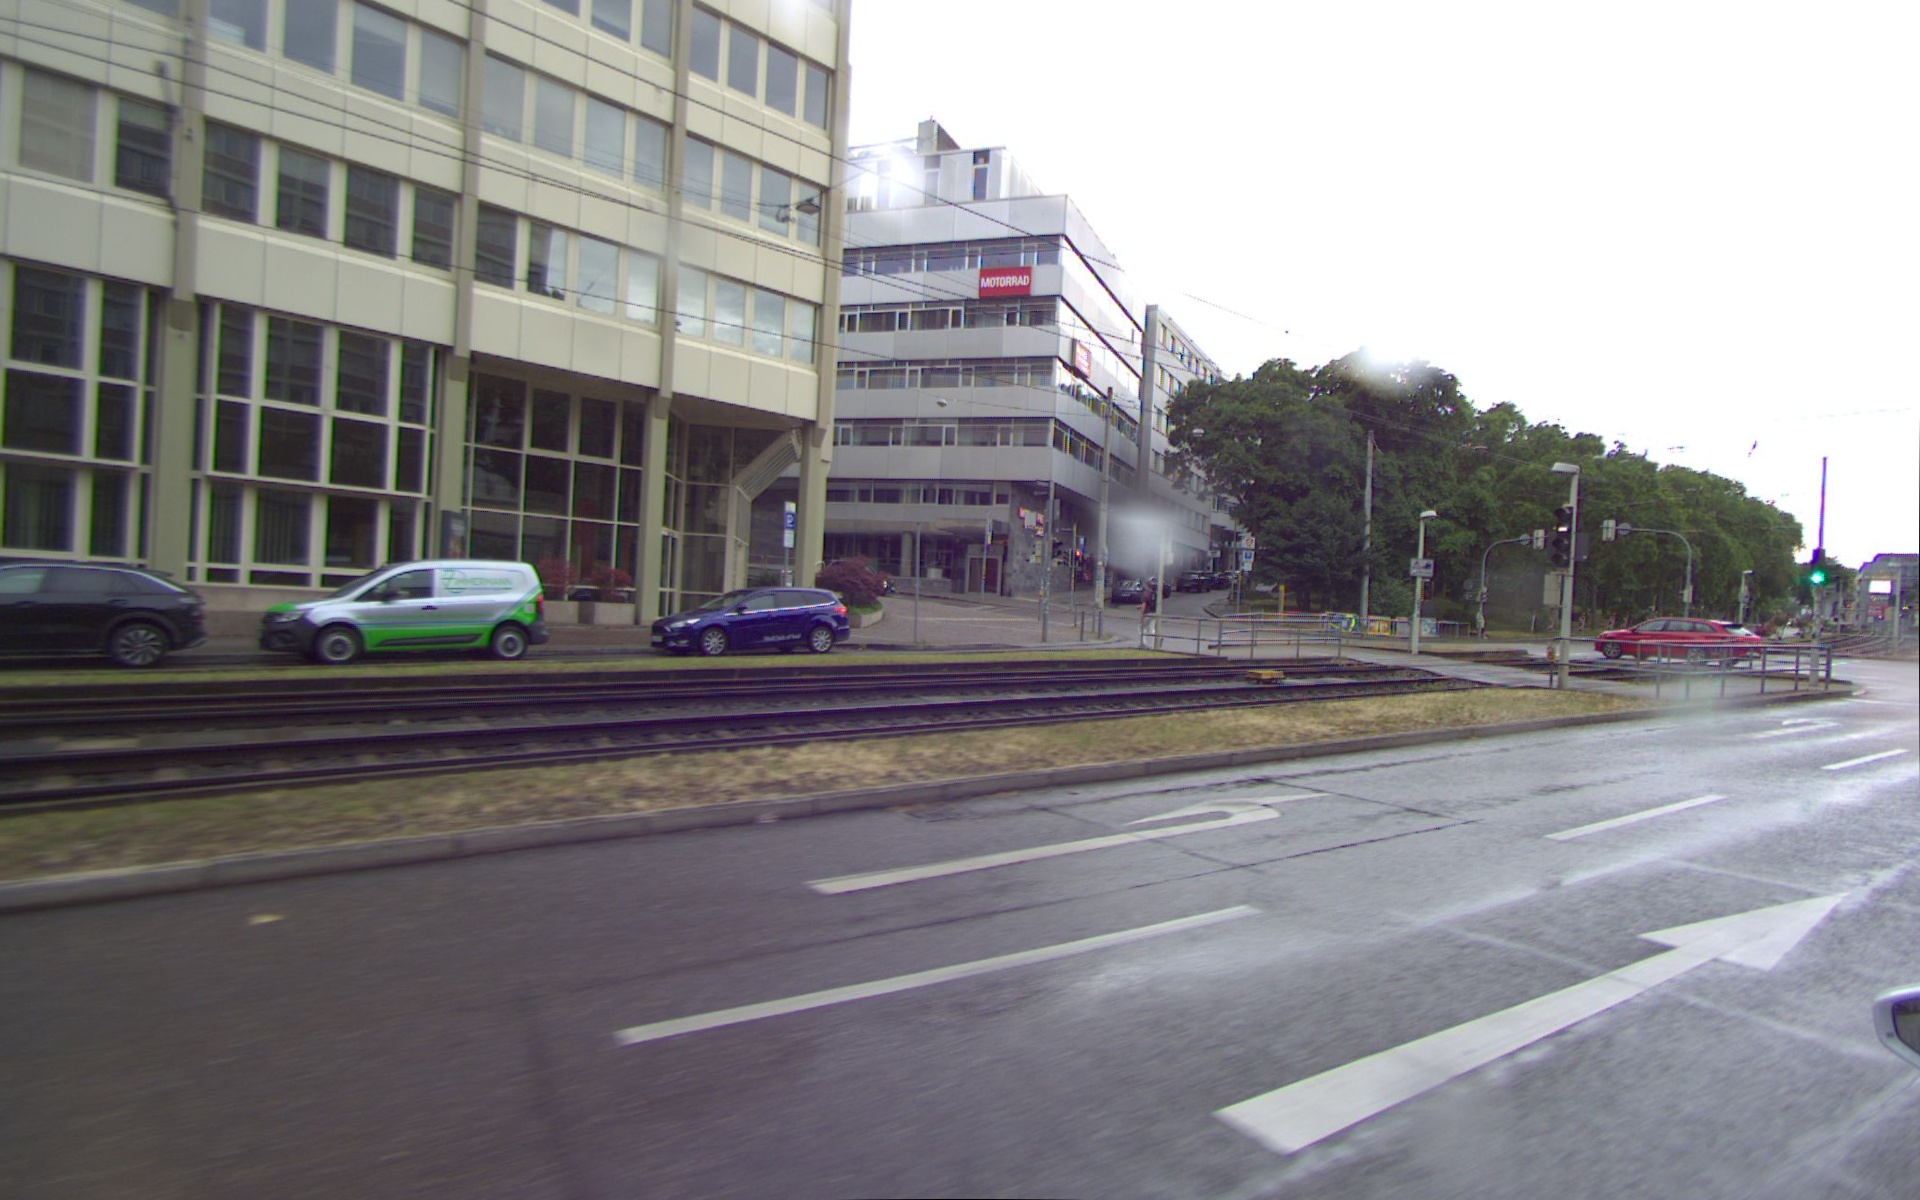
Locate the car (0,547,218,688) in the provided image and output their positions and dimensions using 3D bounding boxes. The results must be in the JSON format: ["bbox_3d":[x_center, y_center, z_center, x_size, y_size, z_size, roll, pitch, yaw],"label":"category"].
[{"bbox_3d":[-13.735,0.208,14.507,4.661,1.875,1.975,2,2,-42],"label":"car"}]

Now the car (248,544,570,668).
[{"bbox_3d":[-9.695,0.127,17.906,4.661,1.875,1.975,2,2,-42],"label":"car"}]

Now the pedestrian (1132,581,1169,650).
[{"bbox_3d":[5.162,0.413,27.174,0.630,1.811,0.809,5,2,32],"label":"pedestrian"}]

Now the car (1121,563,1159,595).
[{"bbox_3d":[11.872,-1.404,66.107,1.960,1.818,4.000,4,5,15],"label":"car"}]

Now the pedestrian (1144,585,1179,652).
[{"bbox_3d":[5.685,0.515,28.322,0.630,1.811,0.809,5,2,32],"label":"pedestrian"}]

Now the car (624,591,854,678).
[{"bbox_3d":[-4.759,0.740,22.054,4.516,1.603,1.975,2,2,-42],"label":"car"}]

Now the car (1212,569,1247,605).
[{"bbox_3d":[23.971,-1.126,89.240,1.963,3.038,4.204,5,2,28],"label":"car"}]

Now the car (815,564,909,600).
[{"bbox_3d":[-4.521,-0.847,46.594,3.919,1.383,1.831,4,2,12],"label":"car"}]

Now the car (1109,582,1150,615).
[{"bbox_3d":[10.331,-0.094,61.116,1.960,1.818,4.001,4,2,15],"label":"car"}]

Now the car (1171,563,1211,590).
[{"bbox_3d":[17.720,-1.780,76.846,1.963,1.818,4.205,5,2,26],"label":"car"}]

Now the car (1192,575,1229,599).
[{"bbox_3d":[21.078,-1.057,84.324,1.963,1.818,4.204,5,2,28],"label":"car"}]

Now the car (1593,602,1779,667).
[{"bbox_3d":[22.985,1.042,32.019,1.958,1.662,4.394,3,2,-21],"label":"car"}]
